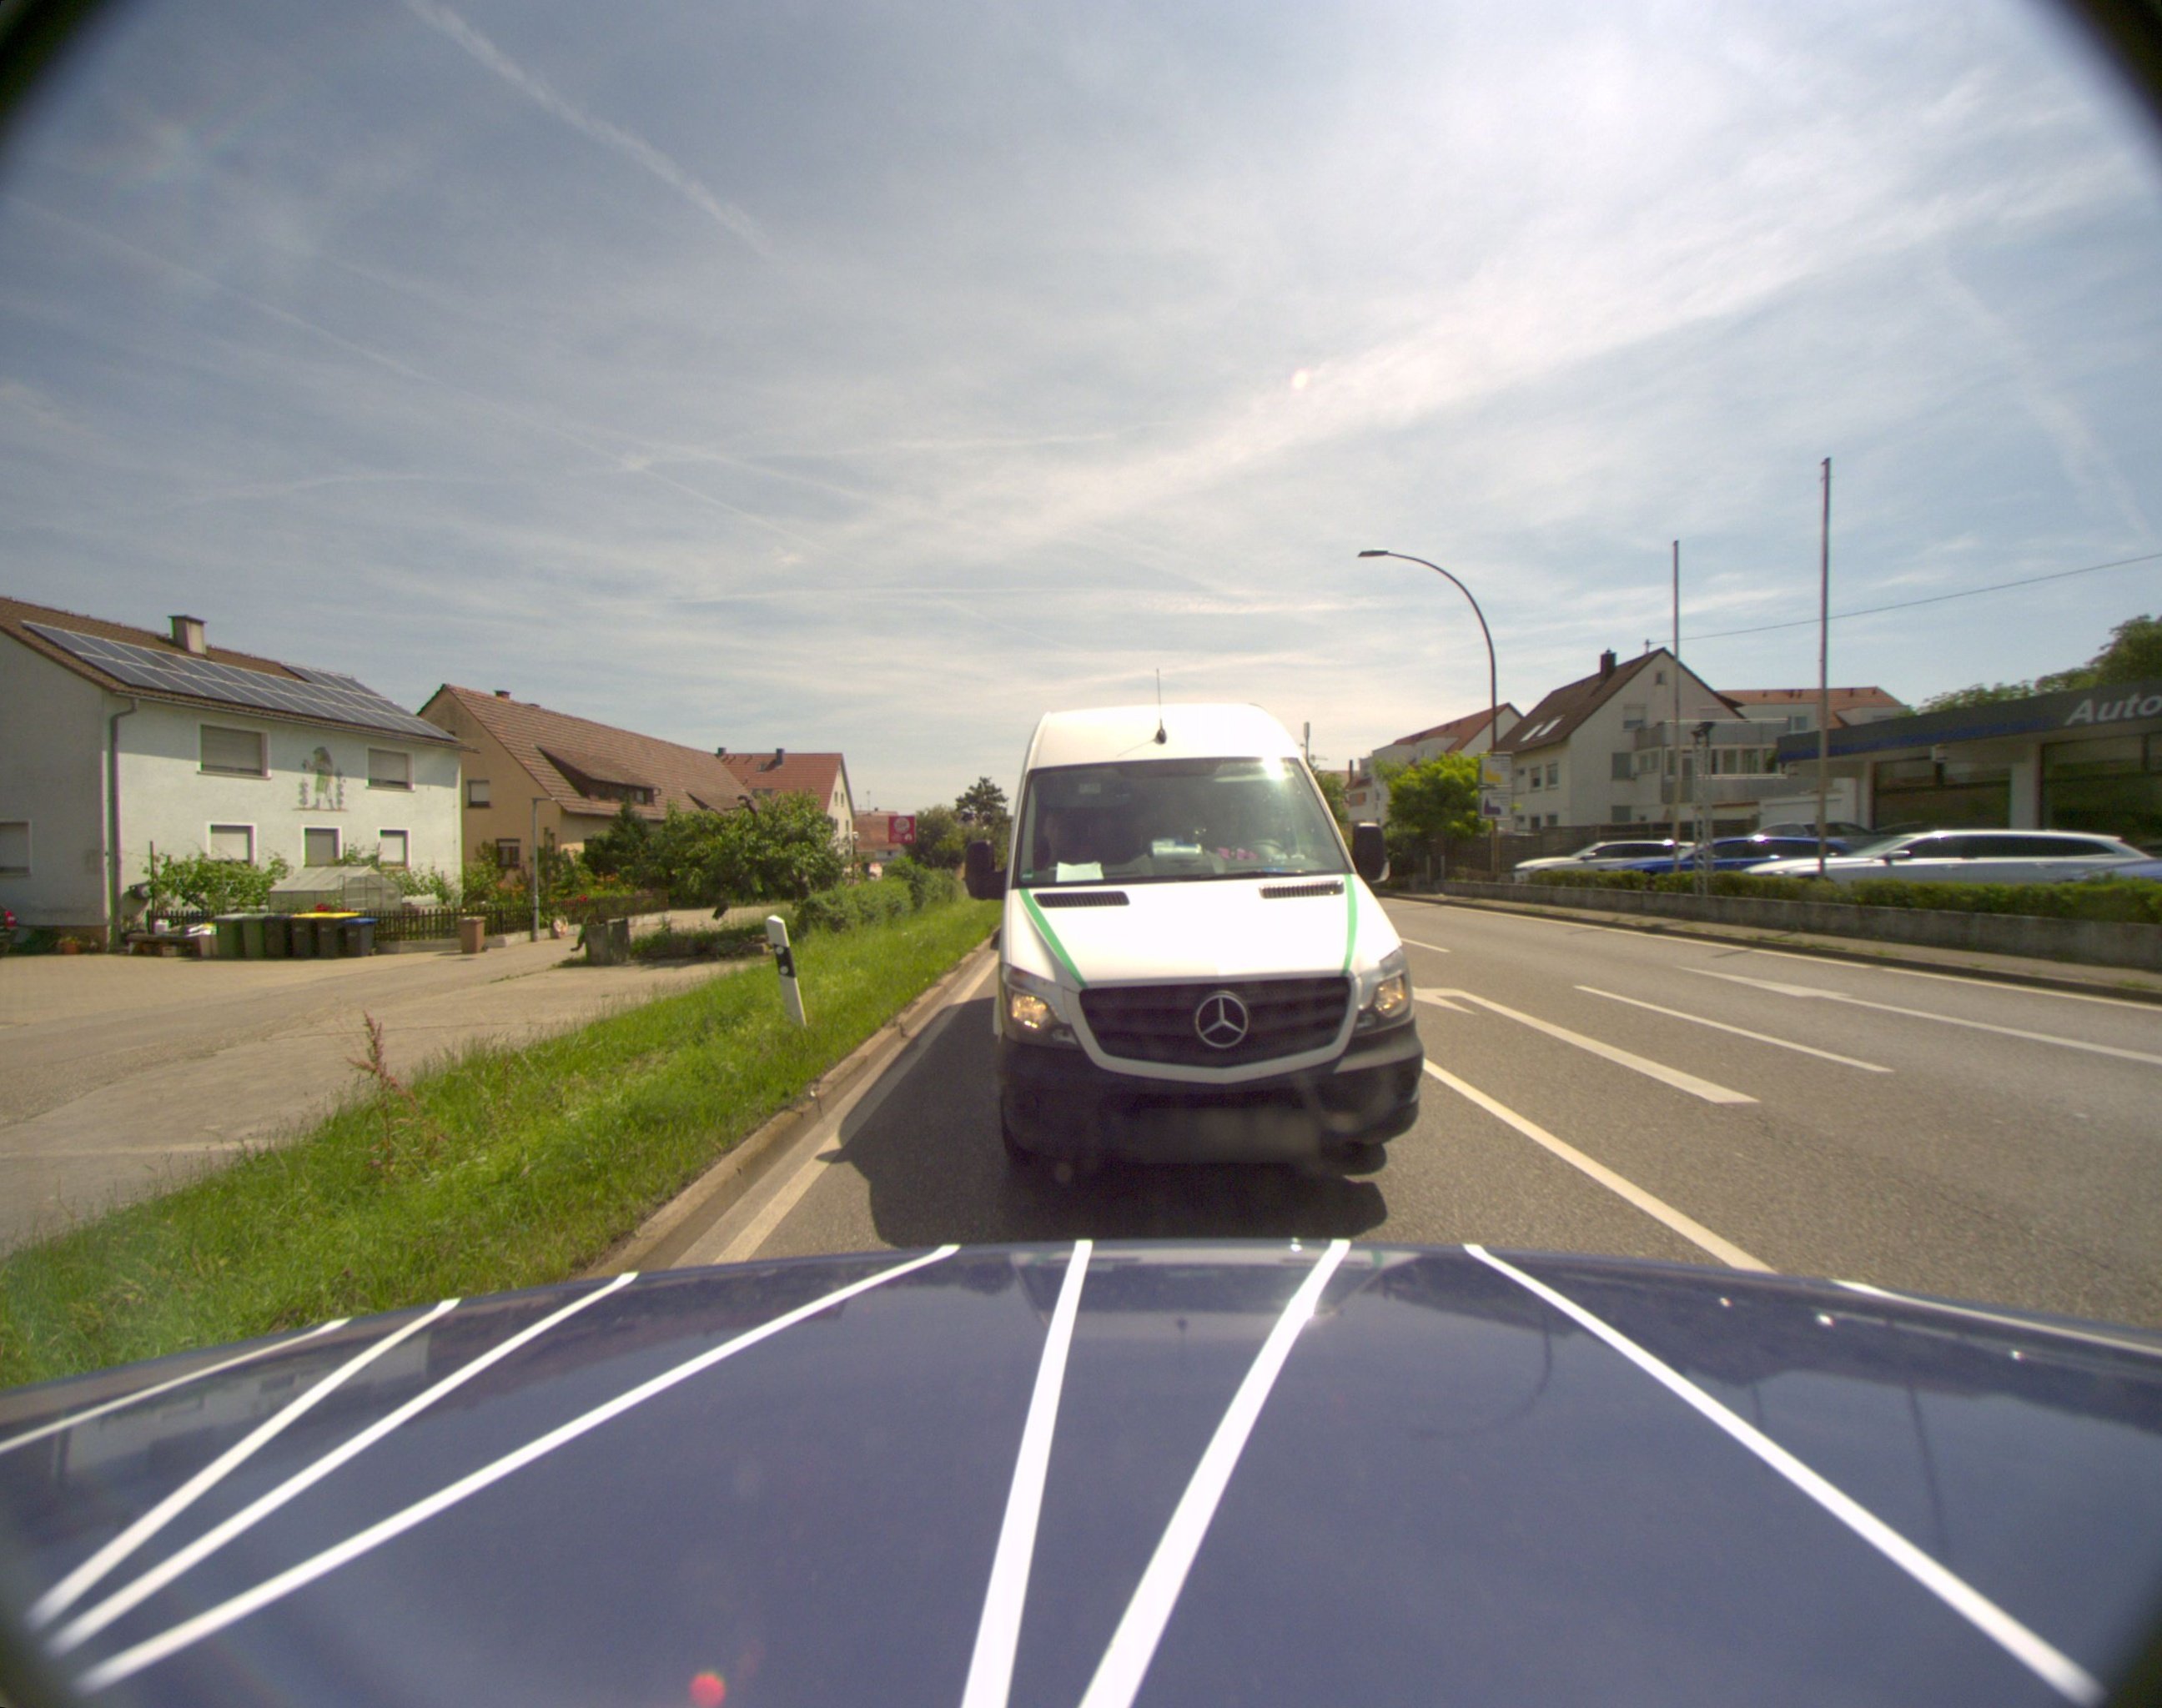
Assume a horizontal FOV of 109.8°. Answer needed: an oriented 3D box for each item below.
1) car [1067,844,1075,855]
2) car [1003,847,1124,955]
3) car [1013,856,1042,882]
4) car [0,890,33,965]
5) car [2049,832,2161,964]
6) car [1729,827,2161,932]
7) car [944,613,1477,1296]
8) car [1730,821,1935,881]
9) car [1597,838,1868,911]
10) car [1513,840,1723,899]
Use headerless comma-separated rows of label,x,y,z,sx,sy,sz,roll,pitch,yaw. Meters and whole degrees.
car,-2.451,-1.062,187.833,1.998,2.573,3.999,-2,1,0
car,-0.295,0.758,14.648,1.884,1.652,4.625,-3,0,0
car,-3.485,0.937,50.004,1.636,1.476,3.551,-4,1,-1
car,-26.862,1.729,17.158,3.957,1.683,1.844,0,1,3
car,14.518,0.434,8.399,4.331,1.439,1.860,-2,1,26
car,14.120,0.452,12.842,4.505,1.439,1.860,-4,0,30
car,0.489,0.374,5.727,1.939,2.514,5.748,-2,0,0
car,20.883,-0.094,21.441,1.807,1.456,4.585,-2,0,10
car,14.351,0.460,17.125,4.331,1.439,1.860,-2,1,29
car,14.591,0.432,21.019,4.568,1.439,1.860,-2,1,29
